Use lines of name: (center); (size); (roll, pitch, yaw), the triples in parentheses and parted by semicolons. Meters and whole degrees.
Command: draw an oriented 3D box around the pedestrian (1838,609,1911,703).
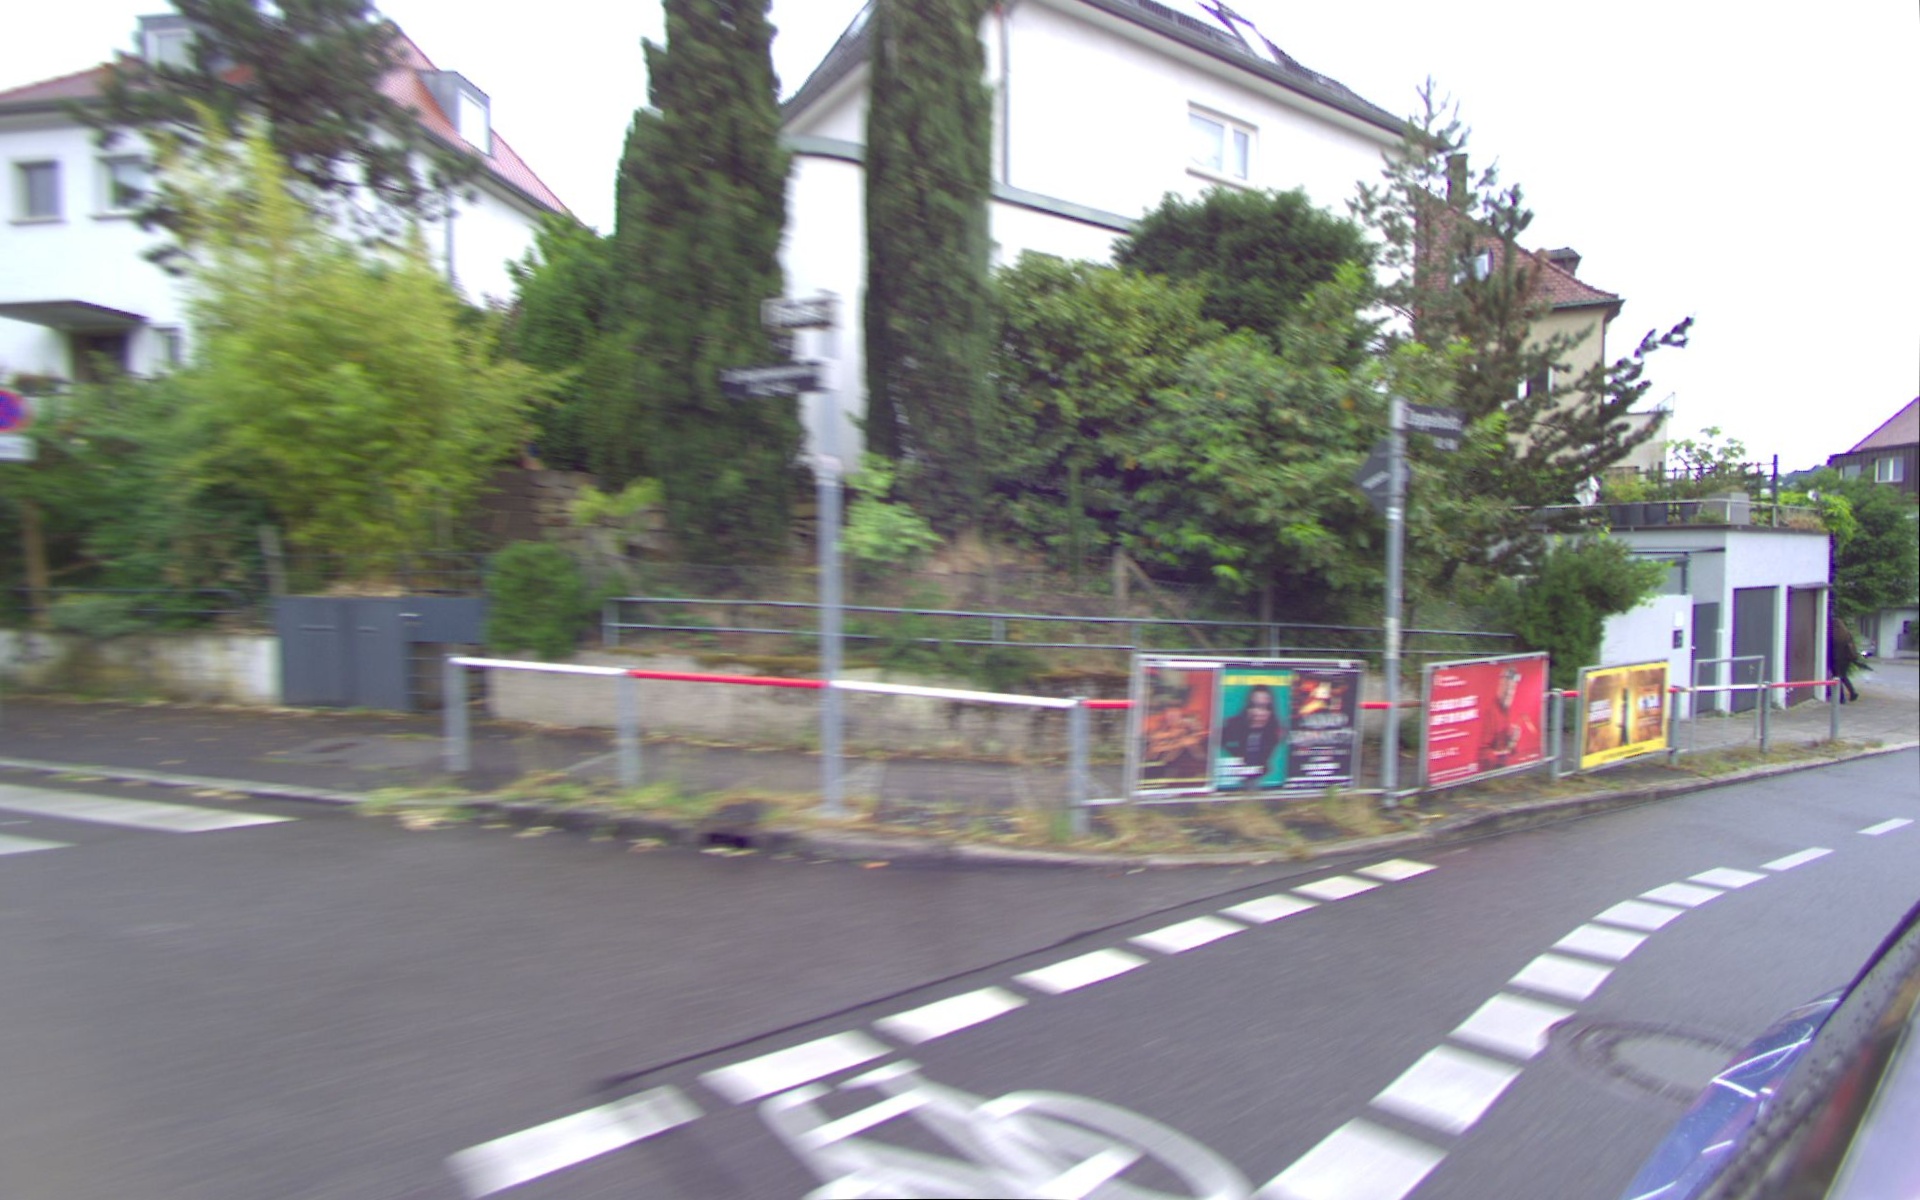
pedestrian: (17.951, 1.076, 19.871); (1.040, 1.743, 0.806); (1, 1, -36)

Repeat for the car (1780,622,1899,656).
car: (41.628, 1.809, 48.057); (1.806, 1.443, 4.231); (0, 0, -3)

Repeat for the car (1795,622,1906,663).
car: (35.108, 1.632, 40.052); (1.939, 1.505, 4.174); (1, -1, 21)
